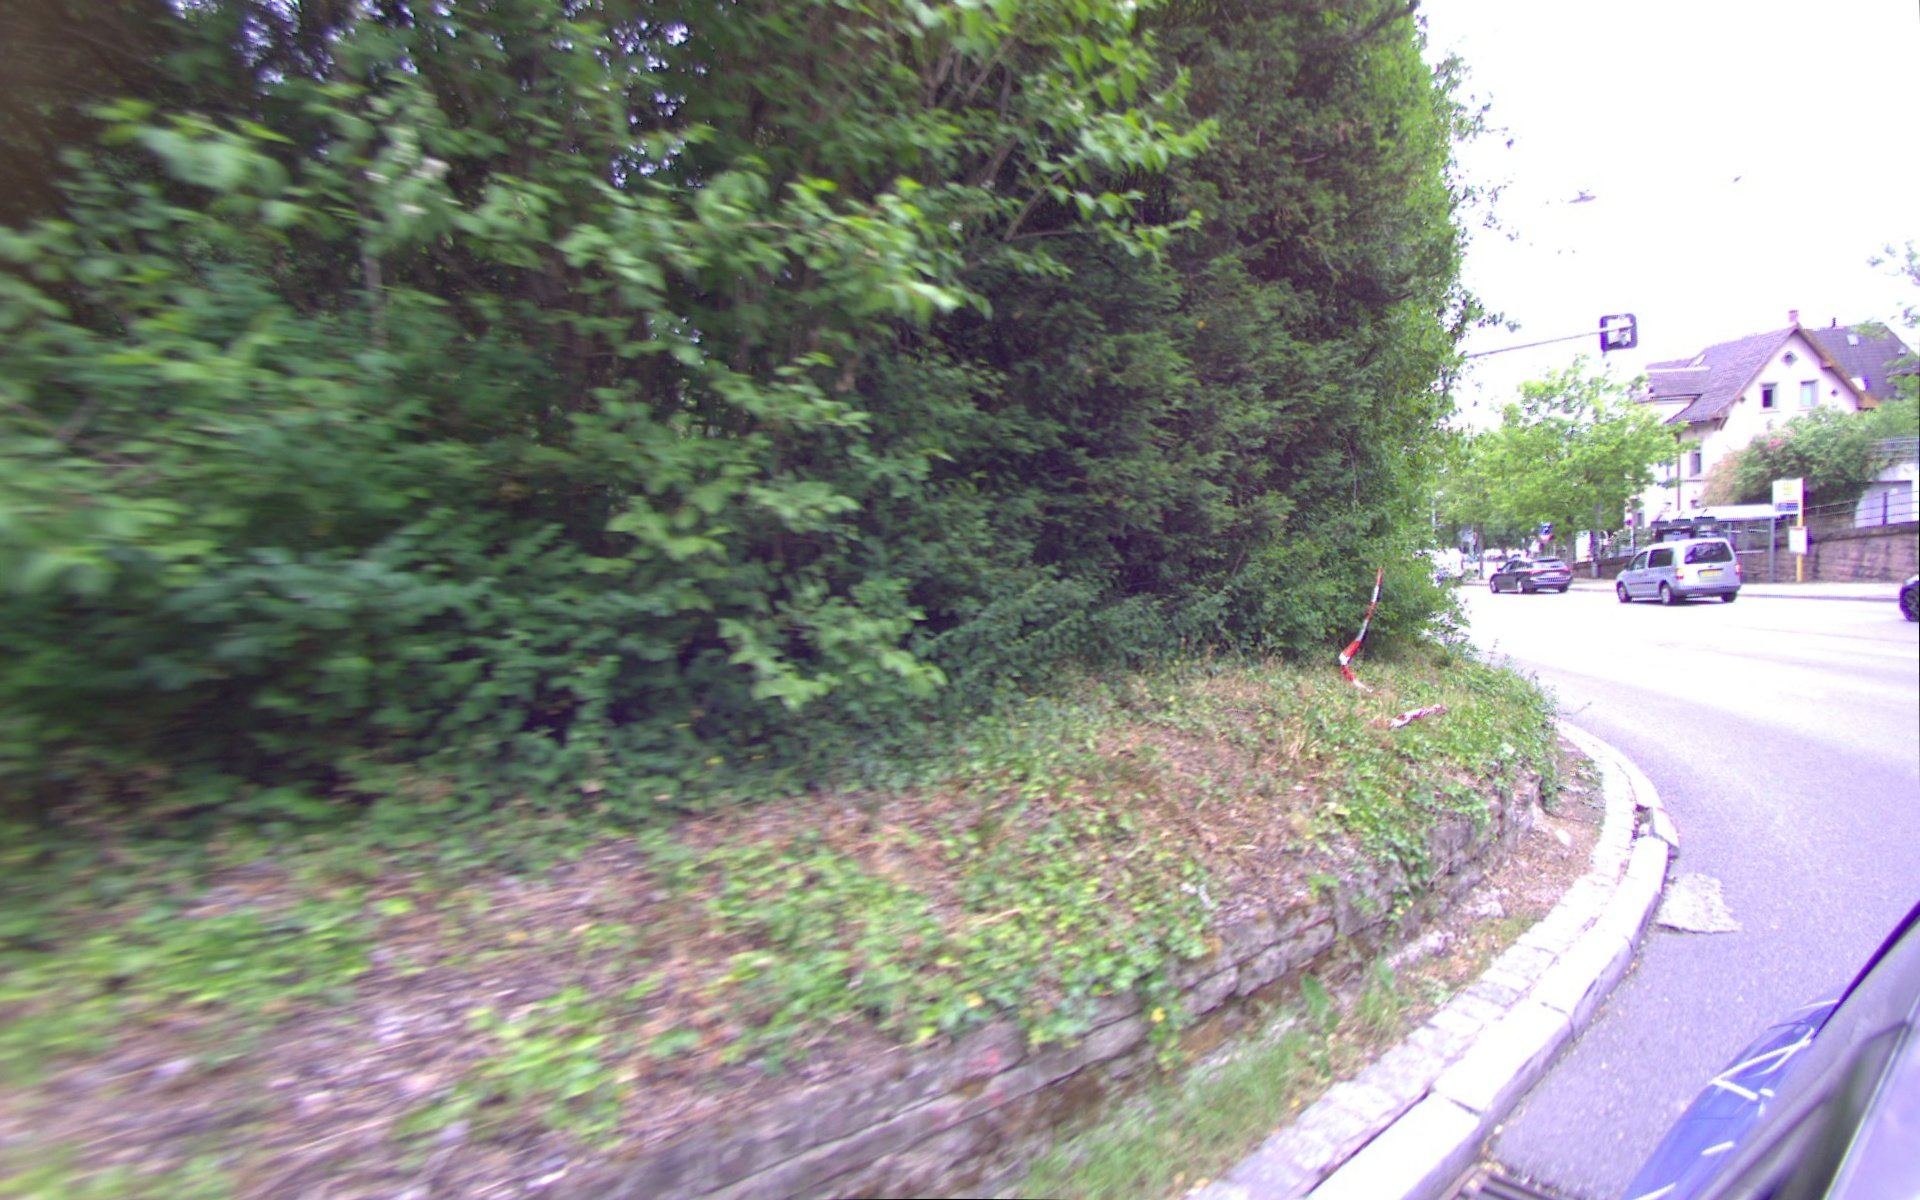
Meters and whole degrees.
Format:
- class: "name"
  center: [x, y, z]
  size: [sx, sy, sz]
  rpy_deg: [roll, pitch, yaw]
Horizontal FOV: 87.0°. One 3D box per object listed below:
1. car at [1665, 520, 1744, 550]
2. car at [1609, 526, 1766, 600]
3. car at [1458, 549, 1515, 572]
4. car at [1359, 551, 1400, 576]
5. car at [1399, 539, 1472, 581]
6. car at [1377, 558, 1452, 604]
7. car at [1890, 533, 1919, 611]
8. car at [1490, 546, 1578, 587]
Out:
- class: "car"
  center: [37.540, -3.252, 51.143]
  size: [1.682, 1.439, 3.627]
  rpy_deg: [0, 3, 9]
- class: "car"
  center: [21.312, -1.079, 29.912]
  size: [1.832, 1.836, 4.439]
  rpy_deg: [-5, 1, 9]
- class: "car"
  center: [35.991, -2.676, 69.269]
  size: [3.085, 1.490, 1.544]
  rpy_deg: [-1, 2, 11]
- class: "car"
  center: [28.858, -2.523, 69.753]
  size: [1.671, 1.510, 3.794]
  rpy_deg: [-4, 2, 8]
- class: "car"
  center: [25.914, -2.146, 55.335]
  size: [1.967, 2.038, 5.413]
  rpy_deg: [-4, 1, 8]
- class: "car"
  center: [16.801, -0.752, 37.591]
  size: [1.892, 1.496, 4.503]
  rpy_deg: [-4, 1, 17]
- class: "car"
  center: [19.095, -0.547, 17.953]
  size: [1.762, 1.484, 4.387]
  rpy_deg: [-6, 1, 13]
- class: "car"
  center: [23.507, -1.377, 41.630]
  size: [1.636, 1.491, 4.600]
  rpy_deg: [-4, 1, 10]
